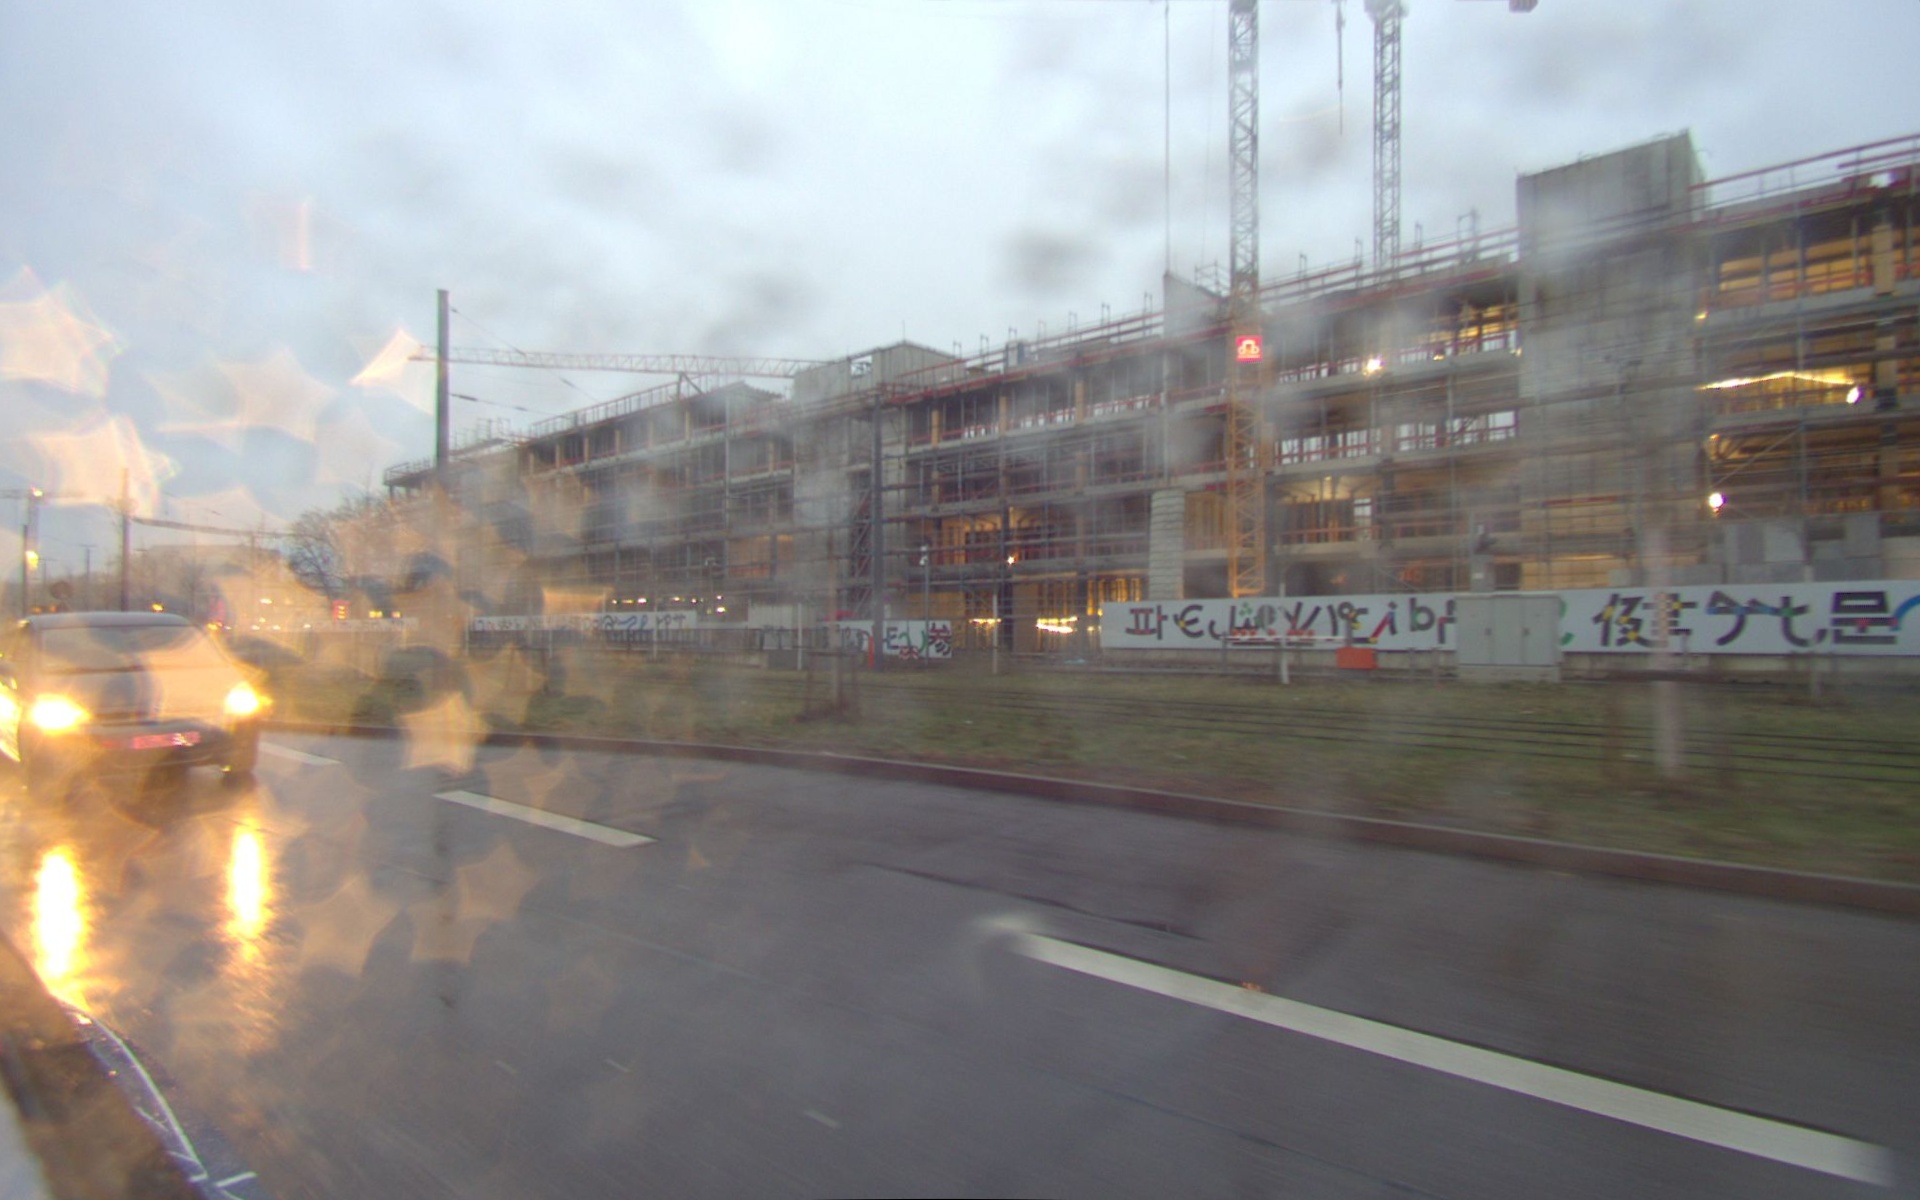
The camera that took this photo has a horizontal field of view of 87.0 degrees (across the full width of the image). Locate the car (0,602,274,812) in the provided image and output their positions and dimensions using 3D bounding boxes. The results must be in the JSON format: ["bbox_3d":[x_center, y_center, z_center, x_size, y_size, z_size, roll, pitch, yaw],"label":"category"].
[{"bbox_3d":[-8.491,0.907,10.031,4.132,1.659,1.792,-2,-2,41],"label":"car"}]
